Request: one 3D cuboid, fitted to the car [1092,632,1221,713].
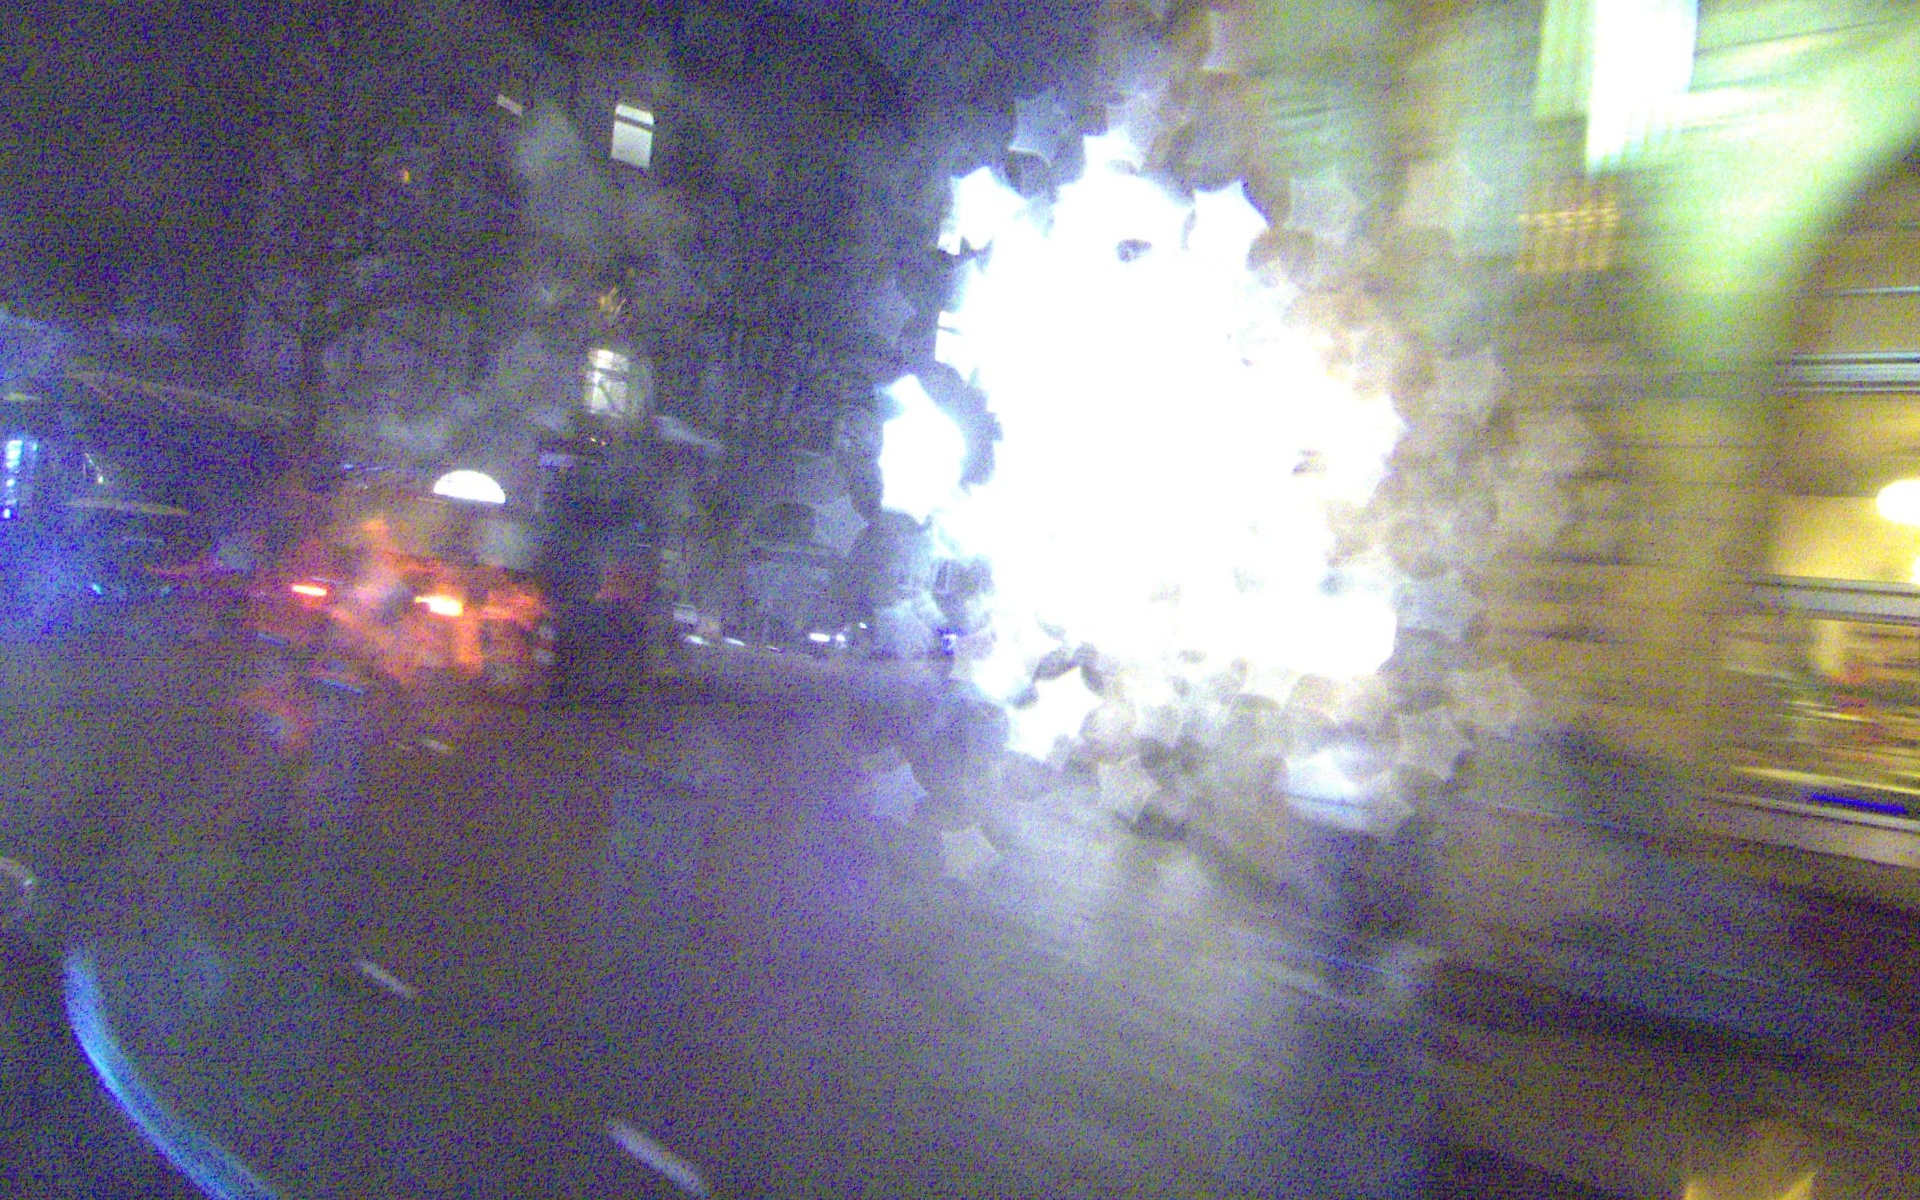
[{"bbox_3d":[4.401,1.607,22.226,1.583,1.476,3.409,7,-1,31],"label":"car"}]

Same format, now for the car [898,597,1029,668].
[{"bbox_3d":[0.204,1.047,30.564,1.967,1.764,4.690,7,-1,26],"label":"car"}]

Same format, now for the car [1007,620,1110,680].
[{"bbox_3d":[3.581,1.812,35.797,1.967,1.764,4.690,7,-1,26],"label":"car"}]

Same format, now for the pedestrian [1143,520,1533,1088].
[{"bbox_3d":[1.484,0.673,3.941,1.065,1.812,0.862,8,3,34],"label":"pedestrian"}]

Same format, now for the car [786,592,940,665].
[{"bbox_3d":[-2.373,0.792,25.894,1.740,1.521,4.417,7,-1,26],"label":"car"}]

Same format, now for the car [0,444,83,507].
[{"bbox_3d":[-31.901,-4.282,33.747,1.704,1.631,3.466,7,-3,2],"label":"car"}]

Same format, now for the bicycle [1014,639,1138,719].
[{"bbox_3d":[2.027,1.381,17.722,1.953,1.128,0.701,6,-2,35],"label":"bicycle"}]

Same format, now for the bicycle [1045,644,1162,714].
[{"bbox_3d":[2.659,1.462,18.717,1.953,1.021,0.701,6,-2,35],"label":"bicycle"}]

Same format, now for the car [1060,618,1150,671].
[{"bbox_3d":[5.907,1.820,40.462,1.968,1.764,4.688,7,-1,28],"label":"car"}]

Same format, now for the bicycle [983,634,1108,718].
[{"bbox_3d":[1.382,1.234,16.505,1.953,1.128,0.507,6,-2,35],"label":"bicycle"}]

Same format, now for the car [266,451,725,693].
[{"bbox_3d":[-4.942,-0.177,11.635,1.965,2.074,4.695,7,-1,19],"label":"car"}]
